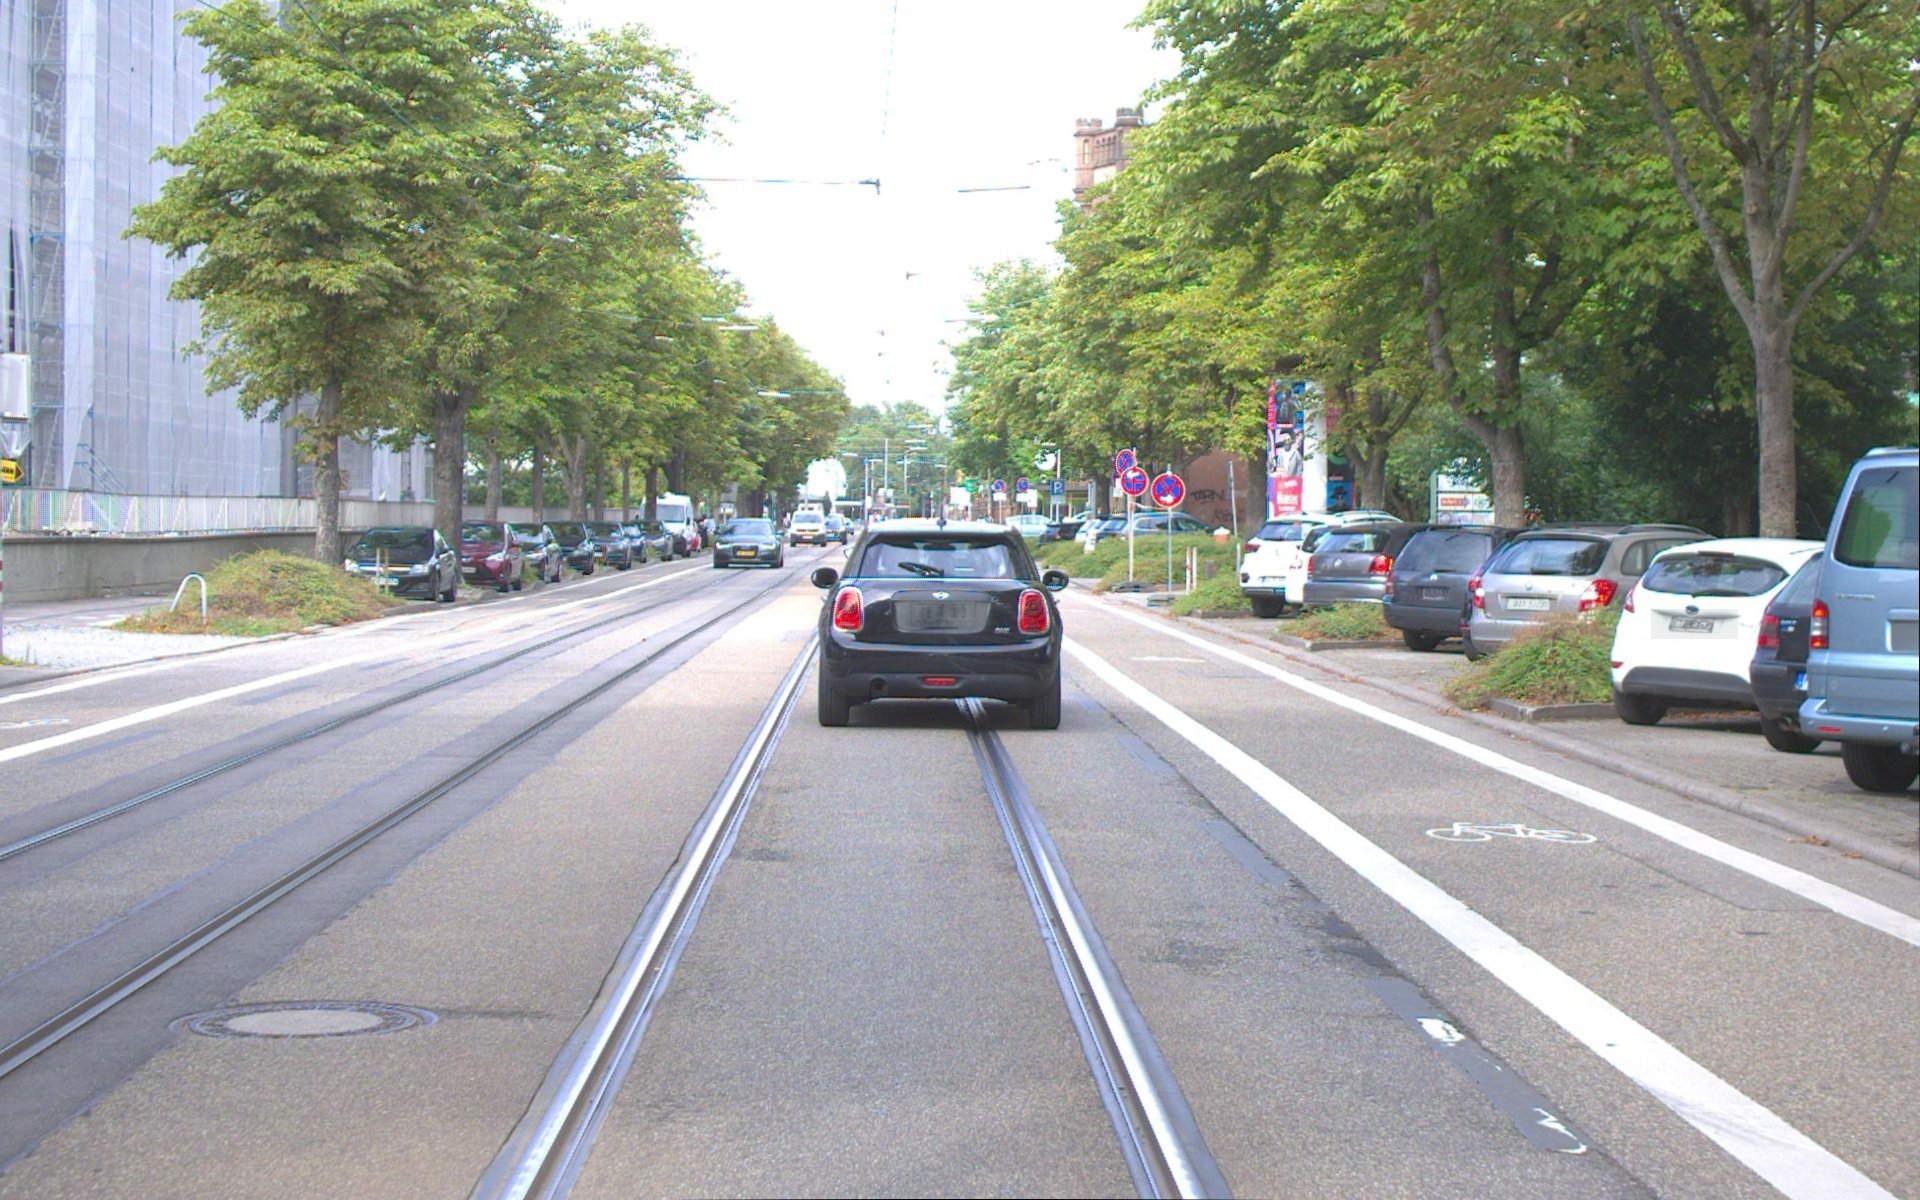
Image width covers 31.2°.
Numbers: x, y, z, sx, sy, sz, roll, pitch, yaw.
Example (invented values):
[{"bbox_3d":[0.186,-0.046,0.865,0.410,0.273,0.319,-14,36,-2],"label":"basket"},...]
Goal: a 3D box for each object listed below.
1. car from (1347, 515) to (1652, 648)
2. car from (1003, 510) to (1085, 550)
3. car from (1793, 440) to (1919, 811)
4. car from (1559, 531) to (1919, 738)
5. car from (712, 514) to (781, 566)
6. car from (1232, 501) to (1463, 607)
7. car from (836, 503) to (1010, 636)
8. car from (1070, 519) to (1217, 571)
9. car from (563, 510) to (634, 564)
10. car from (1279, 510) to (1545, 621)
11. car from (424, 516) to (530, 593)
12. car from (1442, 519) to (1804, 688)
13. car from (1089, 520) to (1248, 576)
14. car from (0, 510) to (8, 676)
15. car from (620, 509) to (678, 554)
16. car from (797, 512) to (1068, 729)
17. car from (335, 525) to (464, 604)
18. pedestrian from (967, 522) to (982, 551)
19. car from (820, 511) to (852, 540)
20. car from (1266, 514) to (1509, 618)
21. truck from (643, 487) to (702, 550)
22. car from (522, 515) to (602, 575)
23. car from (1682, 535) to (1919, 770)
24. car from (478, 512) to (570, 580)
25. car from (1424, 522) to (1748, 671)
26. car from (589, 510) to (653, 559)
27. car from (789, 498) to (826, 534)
[{"bbox_3d":[6.324,-0.218,40.062,1.639,1.453,3.730,2,1,44],"label":"car"},{"bbox_3d":[4.267,-3.590,175.869,3.986,1.904,2.000,2,1,-4],"label":"car"},{"bbox_3d":[6.794,0.143,20.013,1.830,2.008,4.265,2,1,44],"label":"car"},{"bbox_3d":[6.373,0.234,26.553,1.639,1.455,3.819,2,1,42],"label":"car"},{"bbox_3d":[-6.127,-1.737,99.141,1.834,1.443,4.554,1,1,-2],"label":"car"},{"bbox_3d":[5.979,-0.702,52.839,3.437,1.567,1.560,0,2,-40],"label":"car"},{"bbox_3d":[-0.502,-0.407,41.913,1.793,1.465,4.001,2,1,-4],"label":"car"},{"bbox_3d":[5.244,-1.585,98.661,3.986,1.420,1.885,1,1,-4],"label":"car"},{"bbox_3d":[-10.787,-1.889,102.846,1.802,1.578,4.032,0,1,-2],"label":"car"},{"bbox_3d":[6.191,-0.473,46.926,3.525,1.437,1.623,0,2,-40],"label":"car"},{"bbox_3d":[-10.254,-0.983,73.249,1.802,1.578,4.032,0,1,-2],"label":"car"},{"bbox_3d":[6.449,0.022,33.245,1.639,1.517,3.730,2,1,44],"label":"car"},{"bbox_3d":[5.545,-1.392,91.774,3.986,1.420,1.885,1,1,-4],"label":"car"},{"bbox_3d":[-9.358,-0.041,29.019,1.693,1.482,3.678,2,1,-2],"label":"car"},{"bbox_3d":[-11.152,-2.447,123.435,1.802,1.578,4.032,0,1,-2],"label":"car"},{"bbox_3d":[-0.245,0.089,25.180,1.793,1.418,4.001,1,1,-2],"label":"car"},{"bbox_3d":[-10.207,-0.671,62.859,1.802,1.369,4.032,0,1,-2],"label":"car"},{"bbox_3d":[0.836,-3.672,197.457,0.726,1.640,0.766,2,1,9],"label":"pedestrian"},{"bbox_3d":[-6.977,-4.219,193.972,1.802,1.616,4.485,0,1,-2],"label":"car"},{"bbox_3d":[6.232,-0.498,49.947,3.437,1.437,1.560,0,2,-40],"label":"car"},{"bbox_3d":[-11.407,-3.226,136.524,2.071,2.462,4.900,0,1,-2],"label":"truck"},{"bbox_3d":[-10.697,-1.492,92.600,1.802,1.578,4.032,0,1,-2],"label":"car"},{"bbox_3d":[6.716,0.321,23.715,1.676,1.455,3.819,2,1,42],"label":"car"},{"bbox_3d":[-10.391,-1.302,82.115,1.802,1.578,4.032,0,1,-2],"label":"car"},{"bbox_3d":[6.831,-0.051,37.311,1.639,1.517,3.730,2,1,44],"label":"car"},{"bbox_3d":[-11.017,-2.136,112.008,1.802,1.578,4.032,0,1,-2],"label":"car"},{"bbox_3d":[-7.723,-4.268,174.679,1.802,1.817,4.485,0,1,-2],"label":"car"}]
